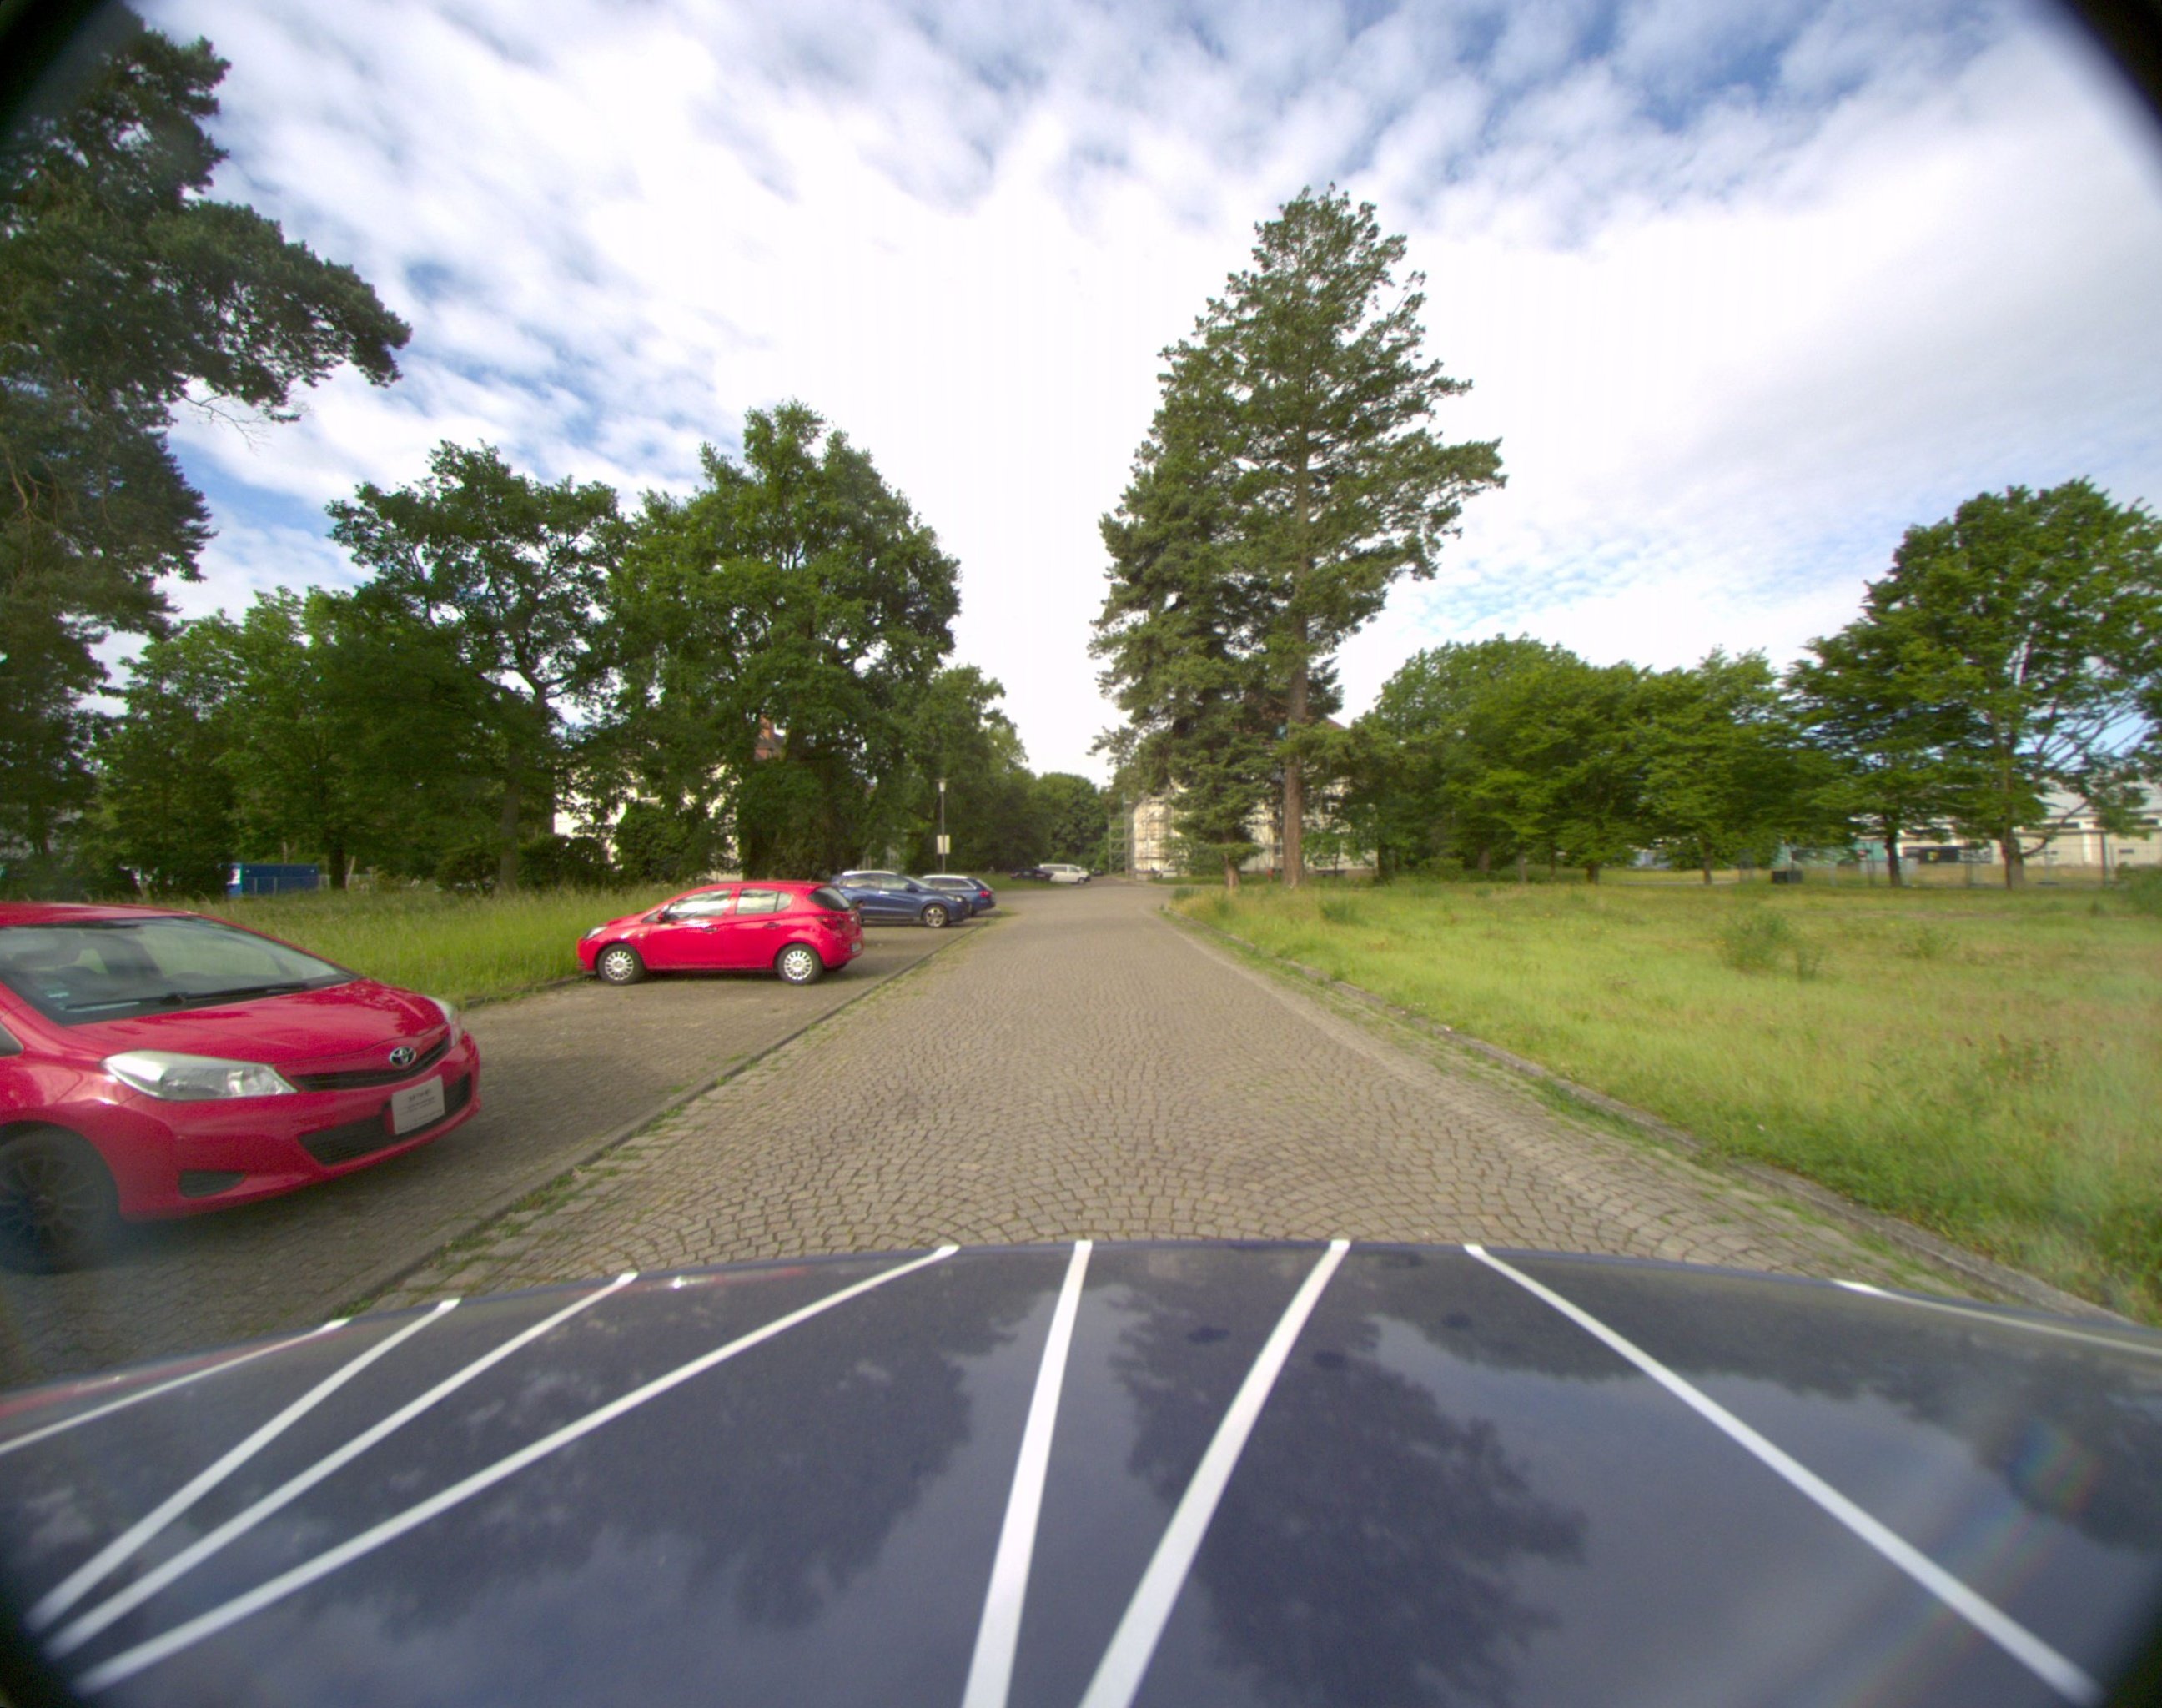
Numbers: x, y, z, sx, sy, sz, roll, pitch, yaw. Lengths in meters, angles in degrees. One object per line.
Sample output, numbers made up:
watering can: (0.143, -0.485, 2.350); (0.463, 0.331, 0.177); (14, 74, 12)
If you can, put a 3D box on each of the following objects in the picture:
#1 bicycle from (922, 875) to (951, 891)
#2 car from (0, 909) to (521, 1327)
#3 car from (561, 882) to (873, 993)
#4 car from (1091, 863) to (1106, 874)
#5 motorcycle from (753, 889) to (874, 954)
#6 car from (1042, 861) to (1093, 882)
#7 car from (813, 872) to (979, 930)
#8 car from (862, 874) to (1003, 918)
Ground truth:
bicycle: (-10.456, 2.093, 54.898); (2.020, 1.082, 0.478); (0, 2, -22)
car: (-5.469, 1.120, 3.816); (3.997, 1.509, 1.738); (-1, -1, 0)
car: (-5.290, 1.193, 11.433); (3.849, 1.496, 1.738); (0, -1, -1)
car: (3.293, 2.666, 141.948); (2.029, 1.915, 3.997); (-1, -1, -11)
motorcycle: (-5.523, 1.376, 15.778); (2.271, 1.267, 0.605); (0, 0, -5)
car: (-1.374, 1.715, 75.254); (4.916, 1.982, 2.000); (-1, -1, -3)
car: (-5.182, 1.316, 21.741); (4.274, 1.564, 1.895); (0, -1, -1)
car: (-5.107, 1.438, 26.522); (4.515, 1.456, 1.896); (0, -1, 3)
